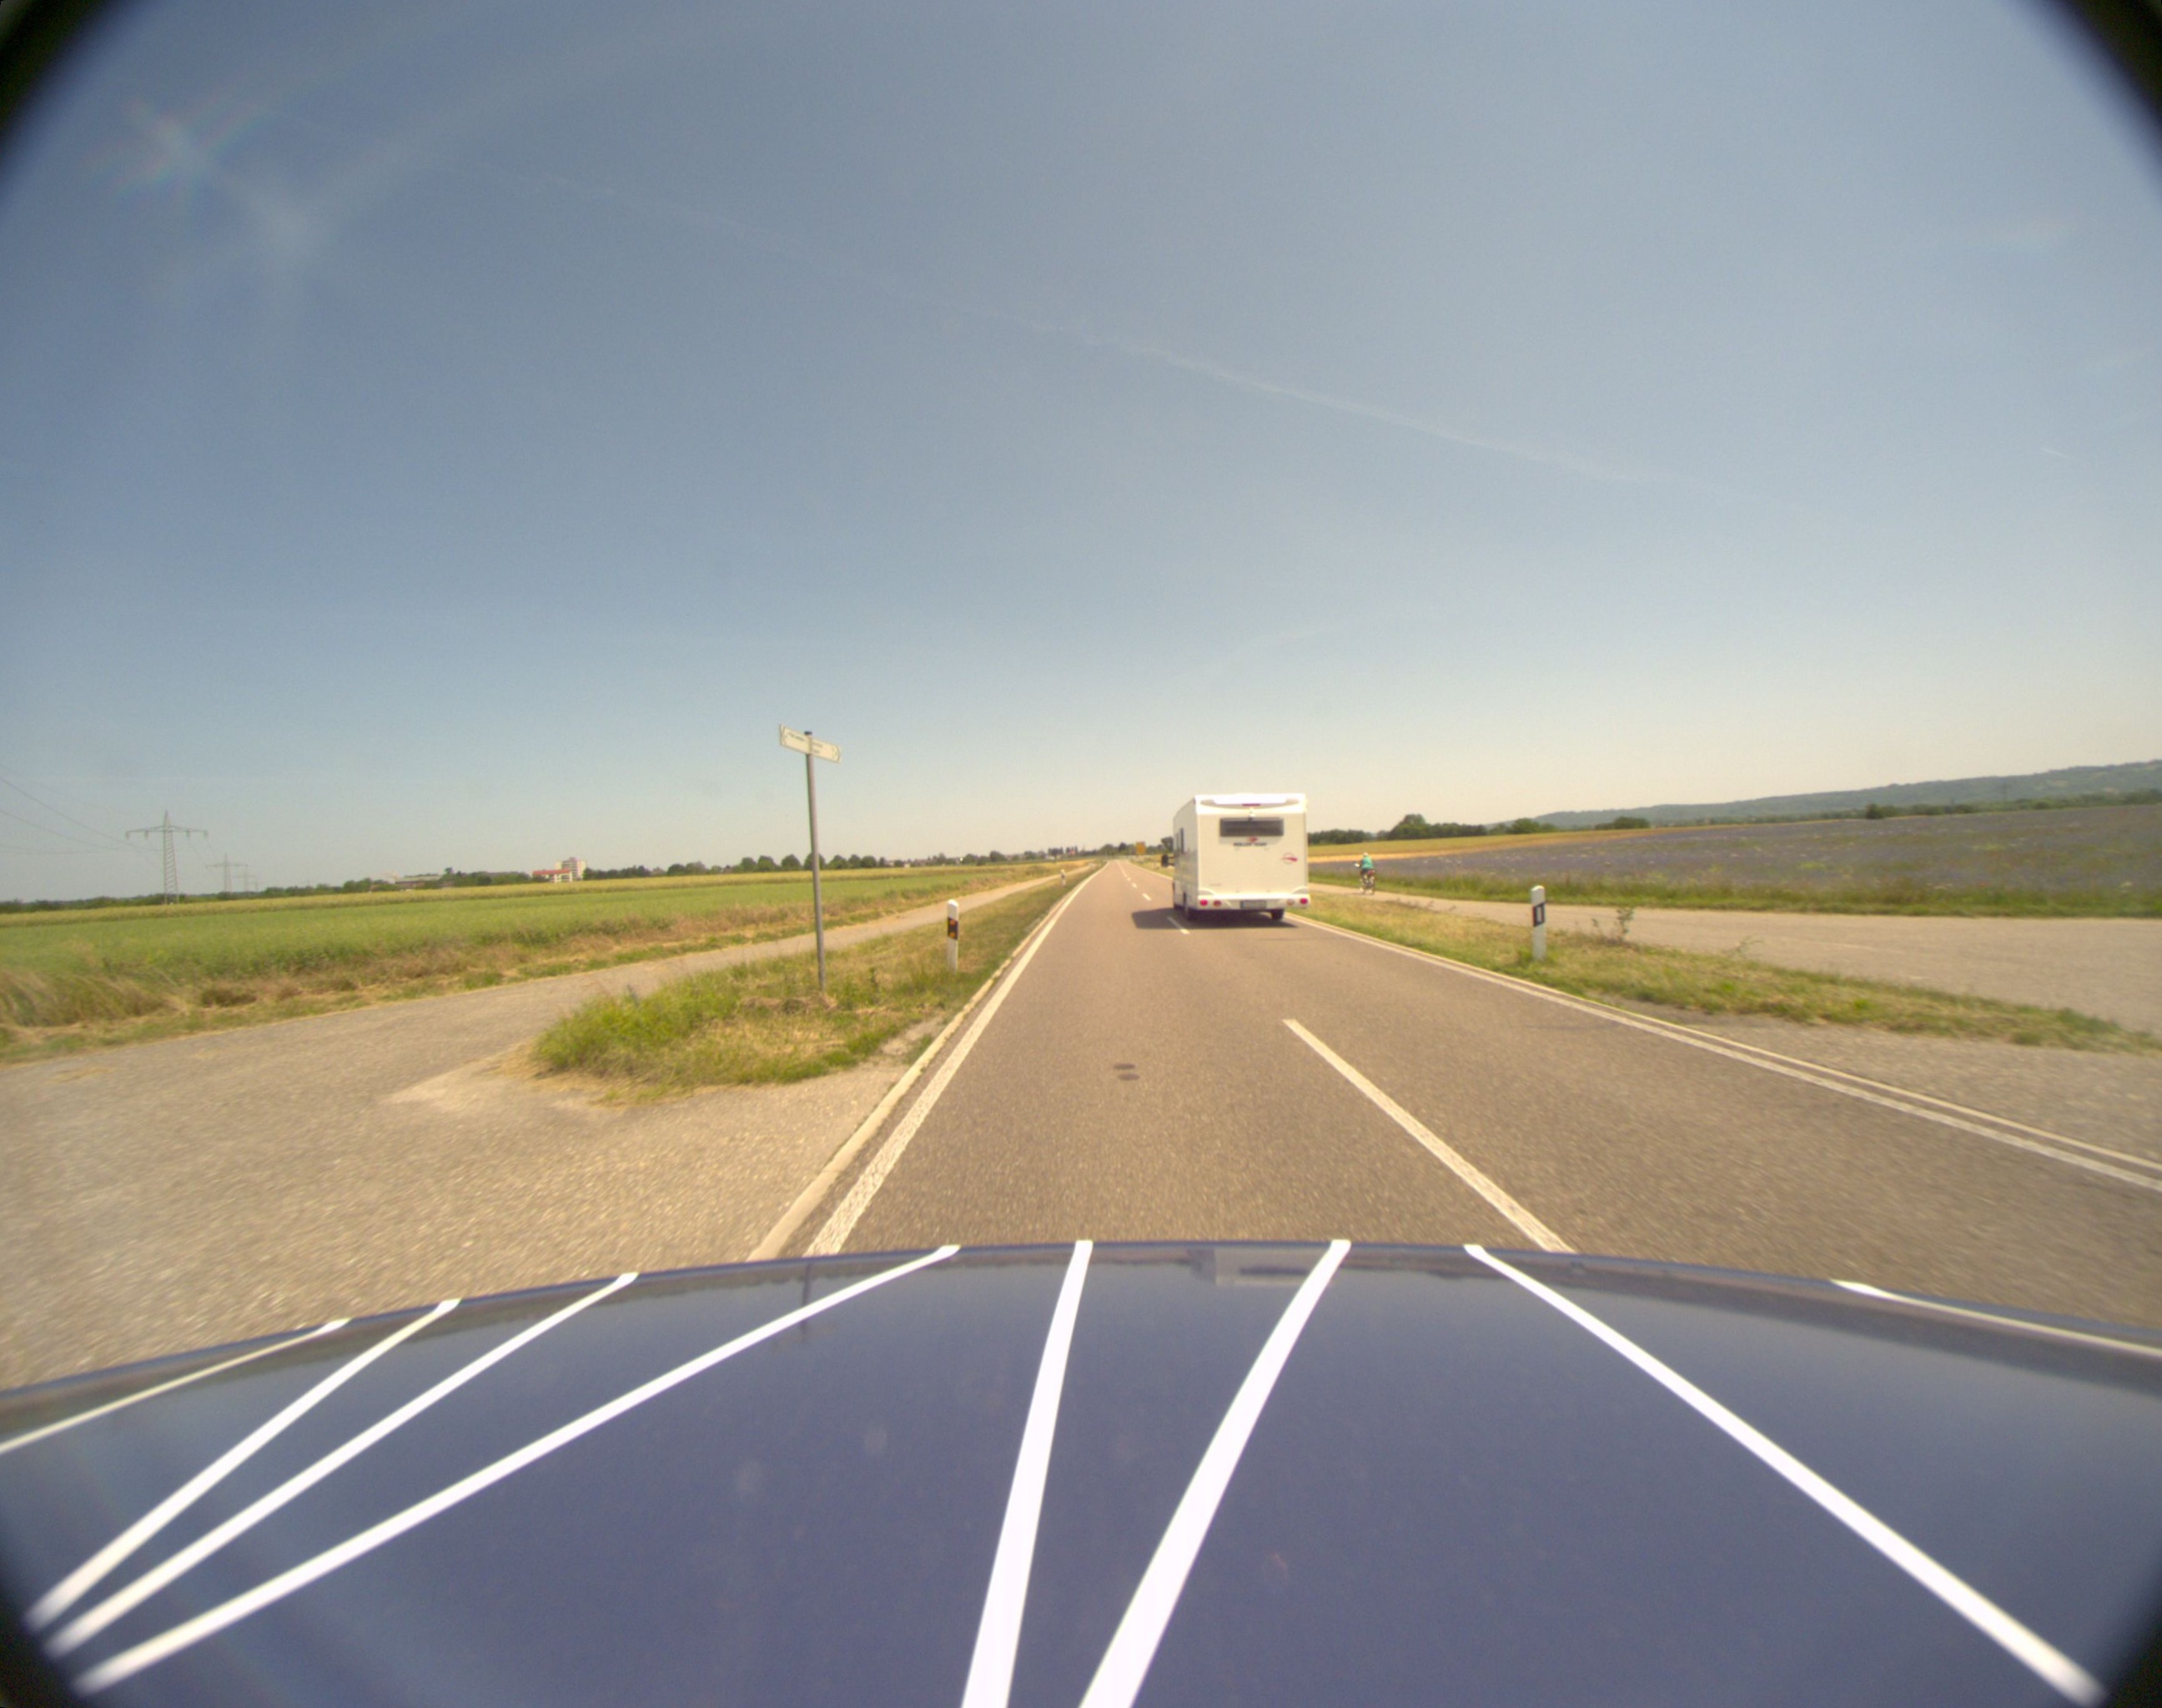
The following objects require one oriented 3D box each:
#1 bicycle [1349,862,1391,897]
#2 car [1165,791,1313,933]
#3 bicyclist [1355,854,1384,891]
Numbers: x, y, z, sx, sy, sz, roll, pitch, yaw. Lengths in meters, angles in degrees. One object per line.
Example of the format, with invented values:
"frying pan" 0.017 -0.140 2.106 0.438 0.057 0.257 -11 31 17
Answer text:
"bicycle" 10.703 0.919 28.258 0.764 1.222 2.216 -2 0 2
"car" 3.612 0.151 19.135 2.403 2.830 7.628 0 0 2
"bicyclist" 10.713 0.674 28.197 0.703 1.323 0.965 -2 0 2
